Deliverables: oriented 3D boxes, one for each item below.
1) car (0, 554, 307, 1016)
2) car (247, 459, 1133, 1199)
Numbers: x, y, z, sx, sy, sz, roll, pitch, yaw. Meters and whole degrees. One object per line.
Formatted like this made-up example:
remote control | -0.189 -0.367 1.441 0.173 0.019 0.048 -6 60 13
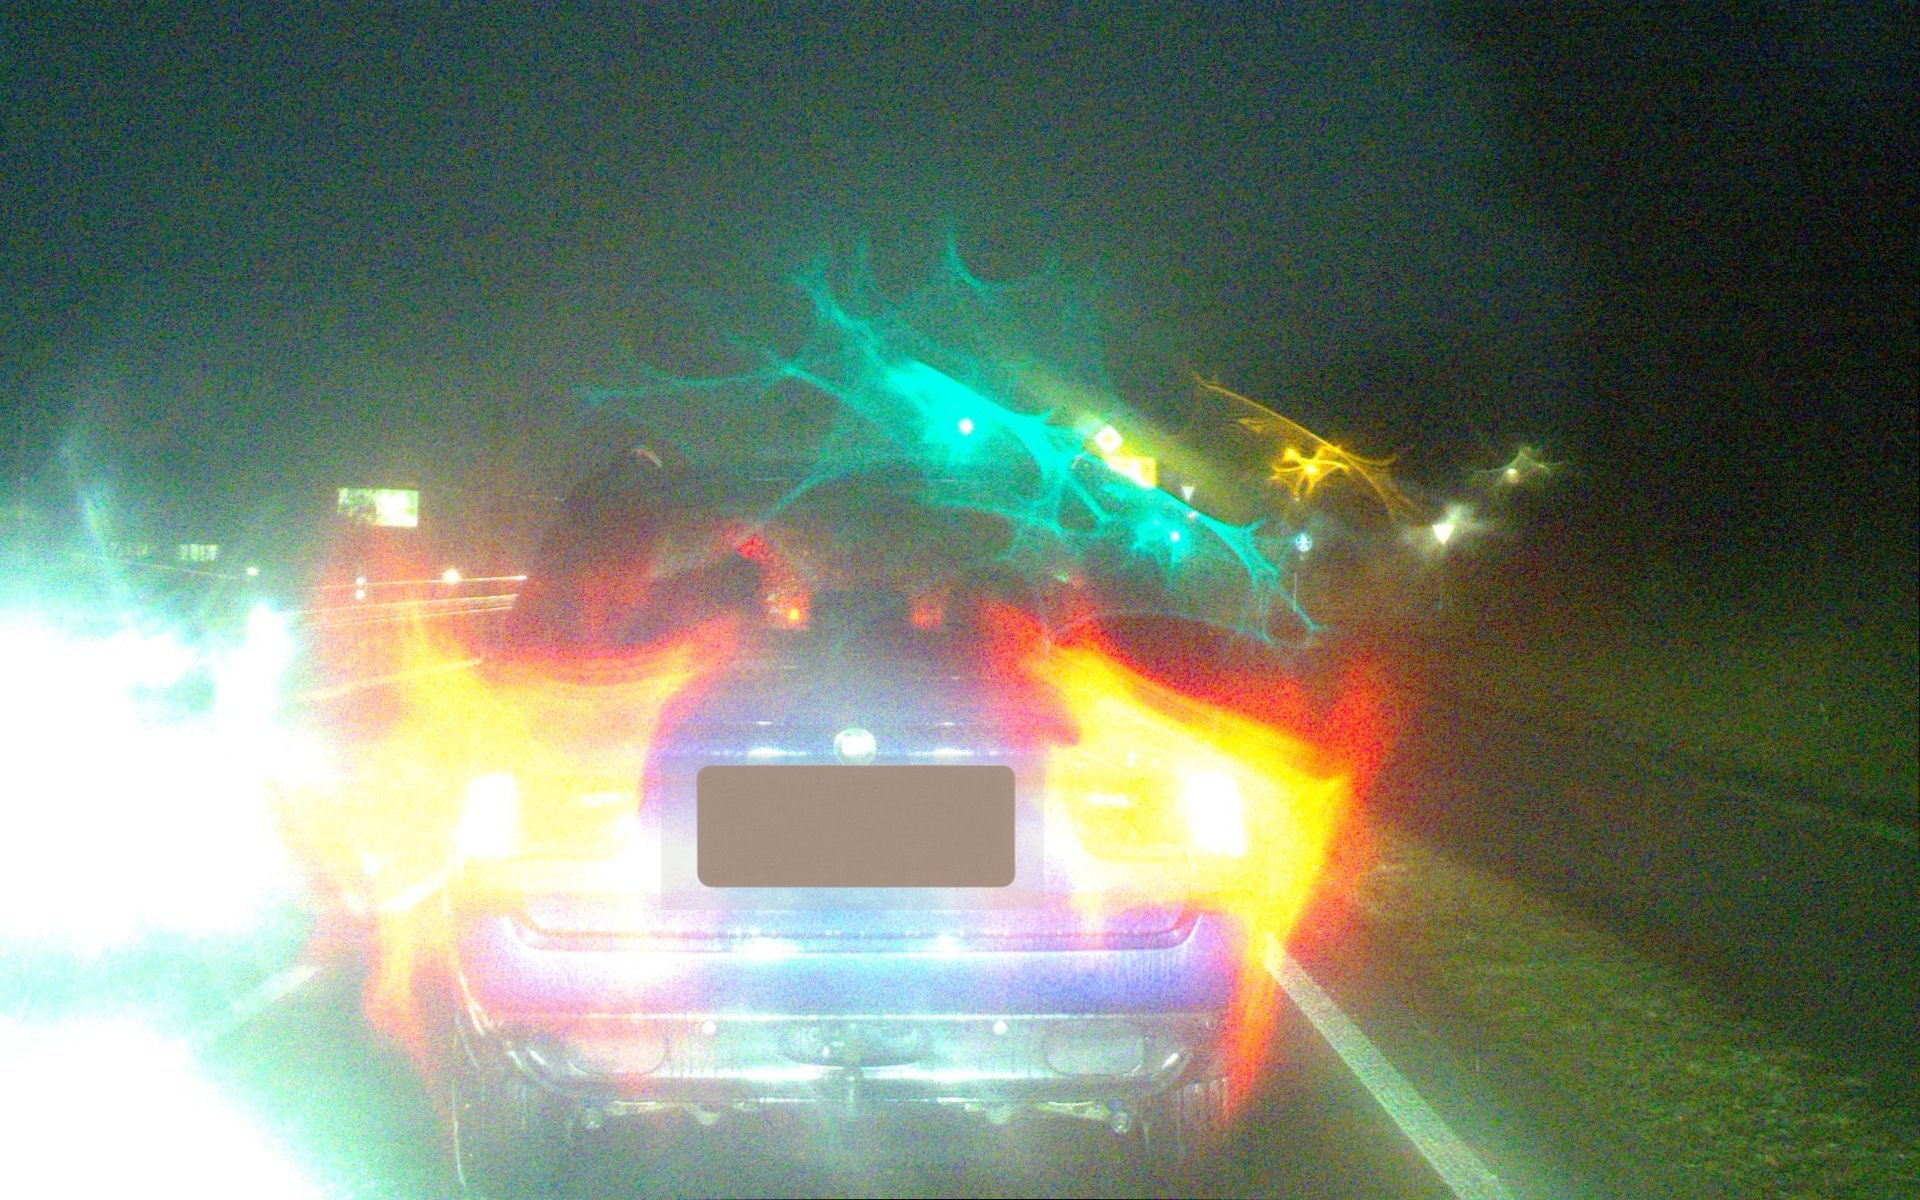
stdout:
car | -3.879 0.571 13.402 1.903 1.465 4.275 2 1 -1
car | -0.550 0.566 8.941 1.775 1.706 4.000 1 0 0
